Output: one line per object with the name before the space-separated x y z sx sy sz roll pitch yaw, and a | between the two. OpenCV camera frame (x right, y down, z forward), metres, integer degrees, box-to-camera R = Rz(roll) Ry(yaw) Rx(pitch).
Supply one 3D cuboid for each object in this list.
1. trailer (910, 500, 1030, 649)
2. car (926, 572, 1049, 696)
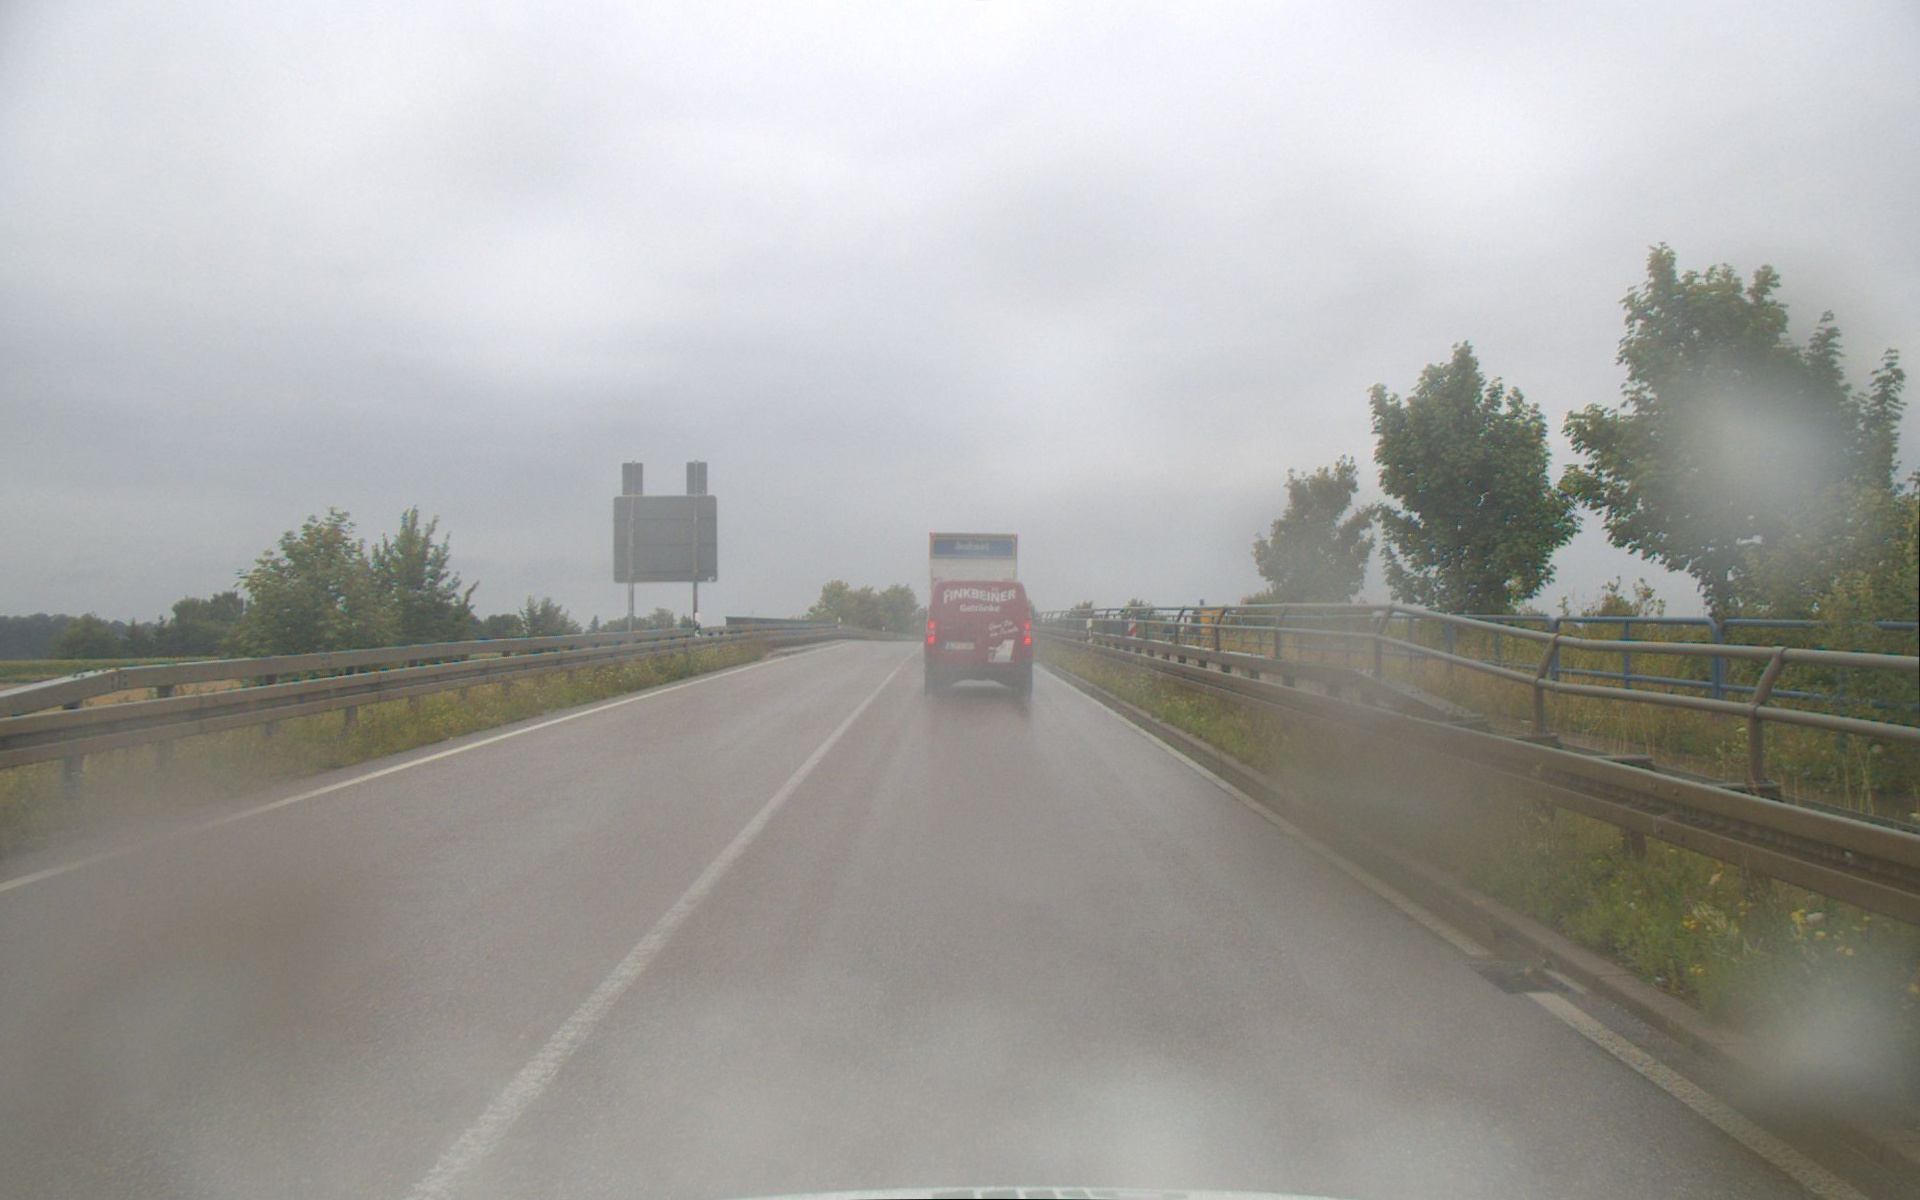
trailer | 0.374 -0.618 50.445 3.135 3.990 8.740 3 -1 1
car | 0.415 0.553 28.850 1.953 1.959 4.142 1 0 -1
